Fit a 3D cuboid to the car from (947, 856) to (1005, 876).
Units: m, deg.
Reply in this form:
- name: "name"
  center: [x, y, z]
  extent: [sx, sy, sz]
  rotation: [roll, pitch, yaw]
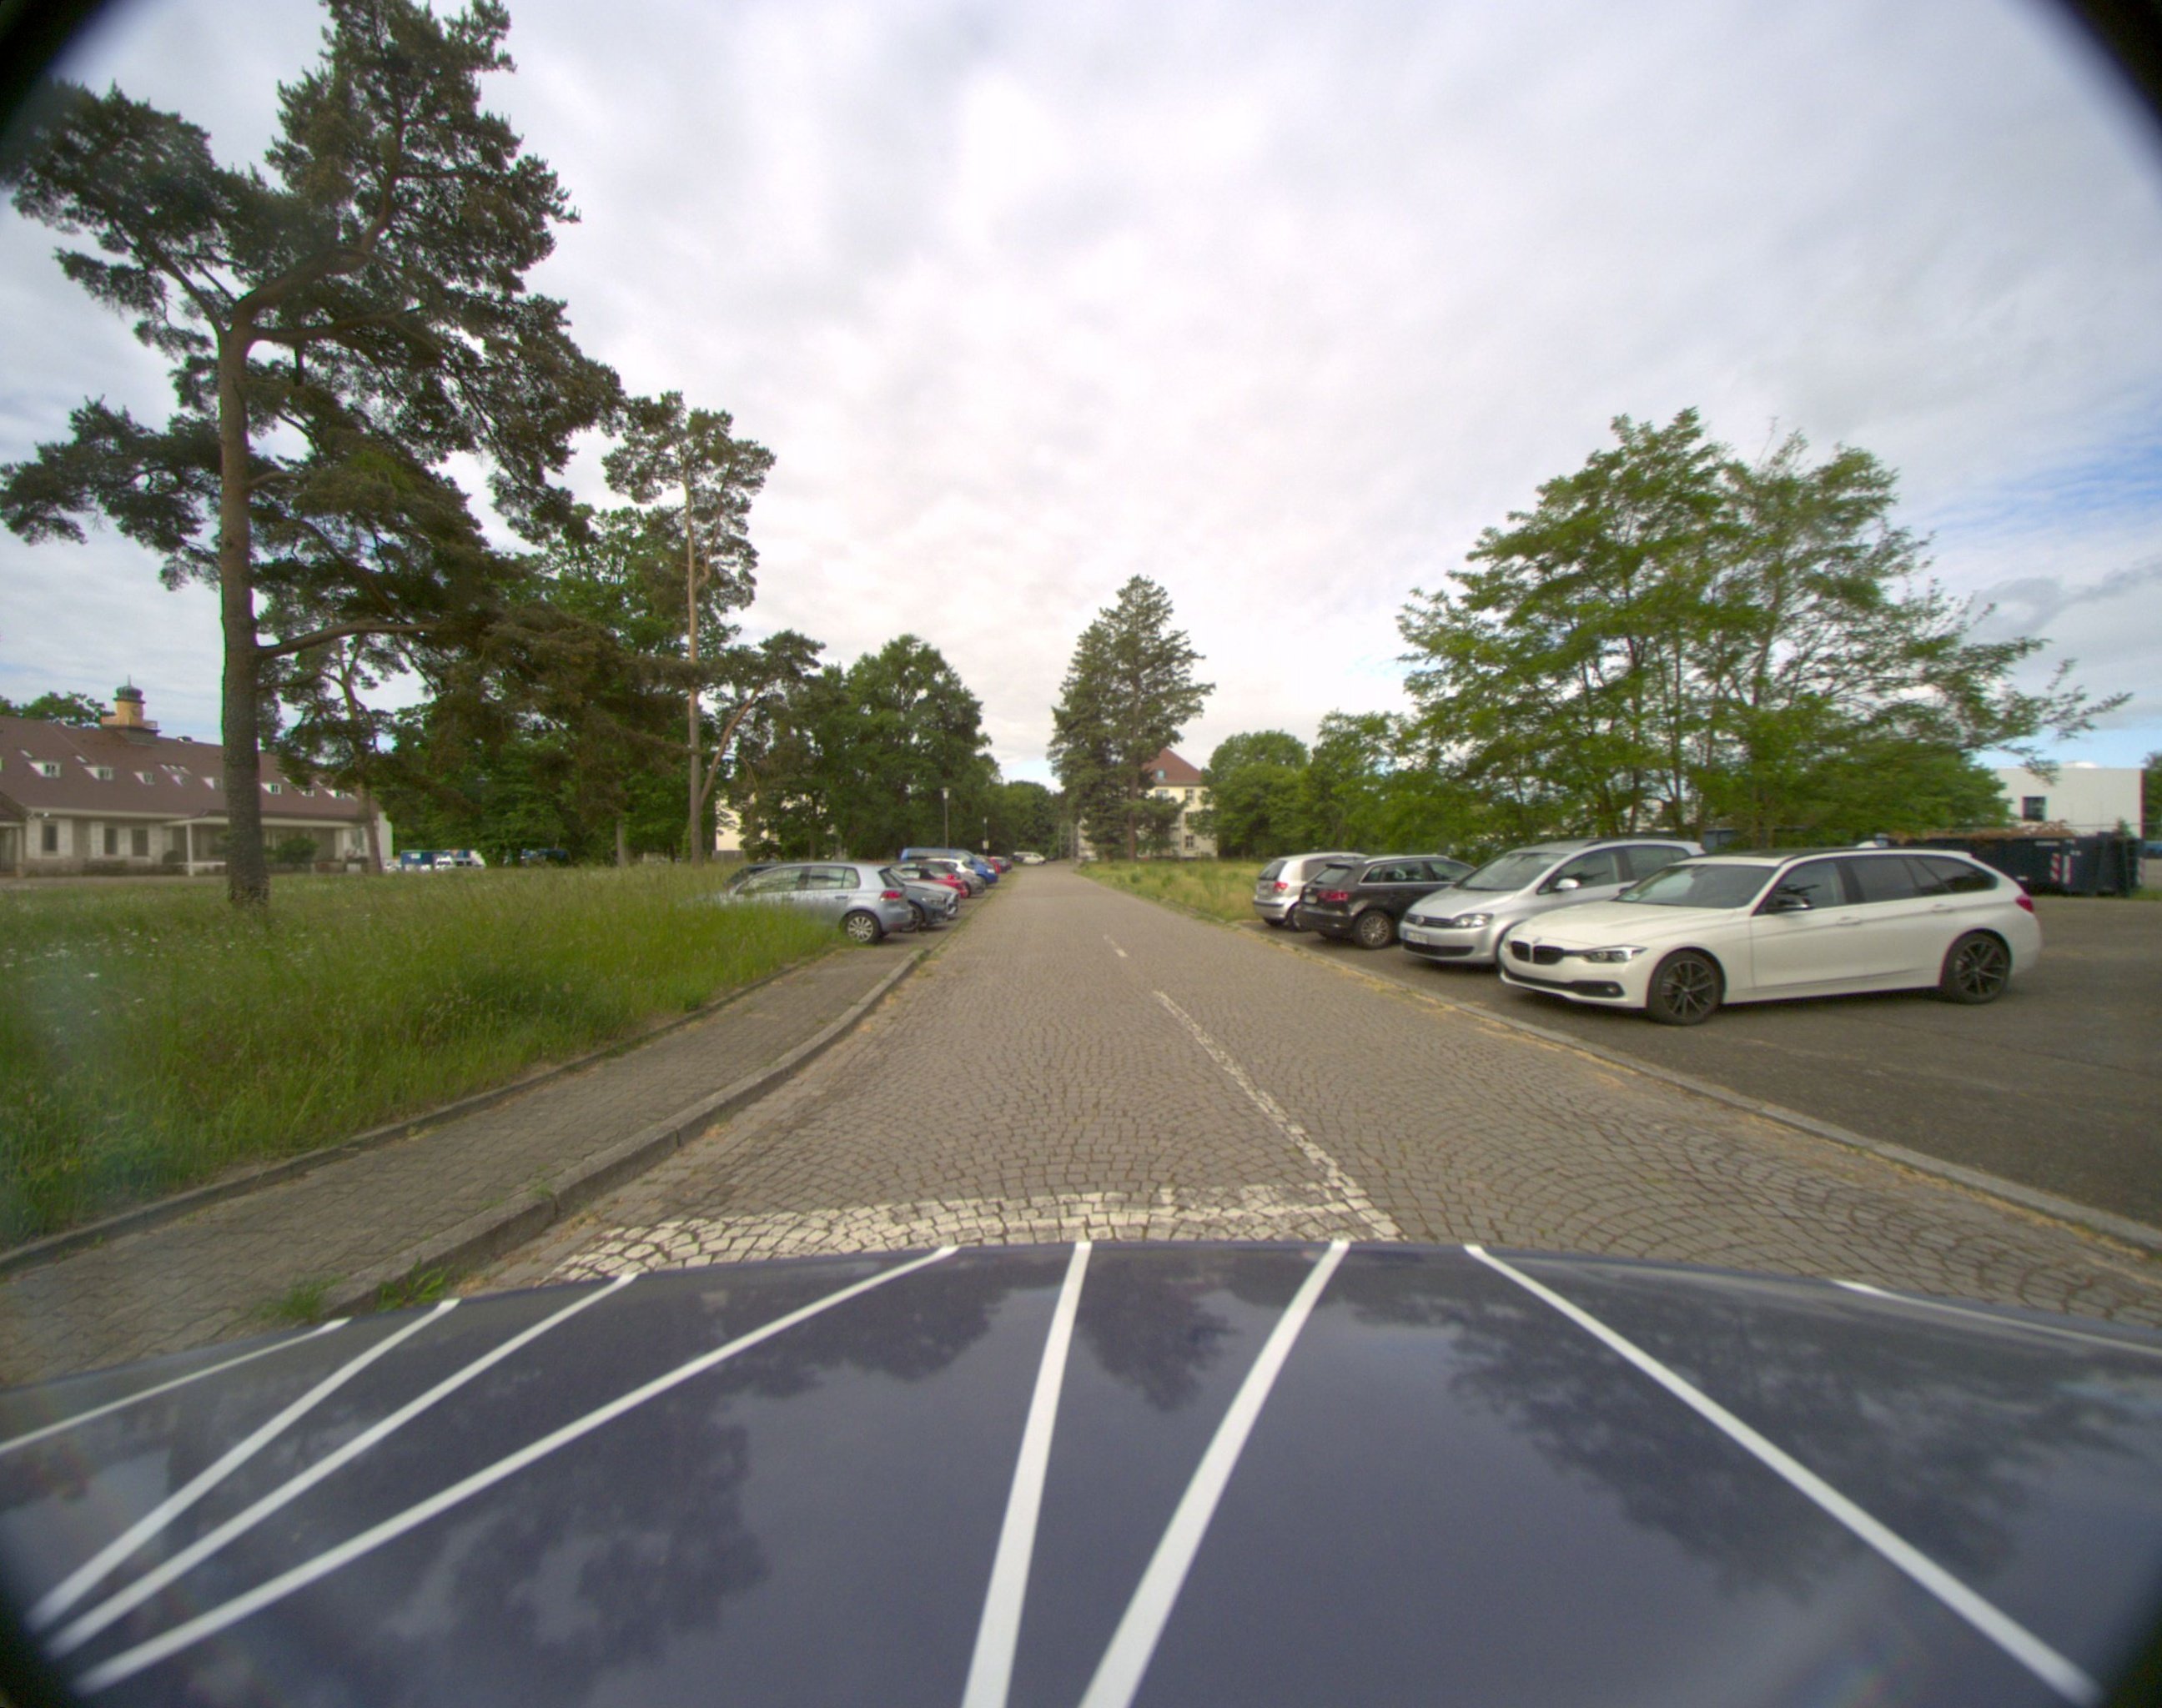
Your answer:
- name: "car"
  center: [-7.771, 0.875, 56.636]
  extent: [4.084, 1.436, 1.726]
  rotation: [0, 0, -2]

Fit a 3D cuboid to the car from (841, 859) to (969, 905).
- name: "car"
  center: [-6.030, 0.934, 26.316]
  extent: [4.051, 1.507, 1.600]
  rotation: [0, 0, -1]

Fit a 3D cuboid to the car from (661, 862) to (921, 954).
- name: "car"
  center: [-5.038, 0.928, 13.652]
  extent: [4.013, 1.420, 1.697]
  rotation: [2, 0, -5]

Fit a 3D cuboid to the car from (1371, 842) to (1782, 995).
- name: "car"
  center: [6.357, 0.732, 9.988]
  extent: [4.377, 1.588, 1.871]
  rotation: [-2, 1, -9]

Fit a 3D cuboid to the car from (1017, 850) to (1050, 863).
- name: "car"
  center: [-7.492, 0.389, 120.451]
  extent: [5.151, 2.137, 1.774]
  rotation: [0, 0, -6]

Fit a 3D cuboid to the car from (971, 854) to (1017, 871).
- name: "car"
  center: [-8.190, 0.791, 71.671]
  extent: [4.092, 1.524, 1.727]
  rotation: [0, 0, 4]

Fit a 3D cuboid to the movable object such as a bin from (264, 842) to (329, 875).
- name: "movable object such as a bin"
  center: [-93.750, 0.527, 90.868]
  extent: [5.459, 3.748, 2.052]
  rotation: [-2, 1, 0]

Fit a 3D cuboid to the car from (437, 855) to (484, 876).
- name: "car"
  center: [-73.351, 1.297, 89.901]
  extent: [1.862, 2.351, 4.445]
  rotation: [-2, 1, -3]

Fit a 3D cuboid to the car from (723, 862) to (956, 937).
- name: "car"
  center: [-5.020, 0.939, 16.285]
  extent: [4.441, 1.375, 1.663]
  rotation: [2, 0, -5]

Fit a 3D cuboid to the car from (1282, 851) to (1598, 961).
- name: "car"
  center: [5.819, 0.789, 12.602]
  extent: [4.448, 1.416, 1.721]
  rotation: [-3, 1, -5]

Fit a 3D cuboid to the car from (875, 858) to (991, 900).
- name: "car"
  center: [-5.620, 0.938, 29.170]
  extent: [4.098, 1.507, 1.700]
  rotation: [0, 0, -1]

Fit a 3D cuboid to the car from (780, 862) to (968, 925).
- name: "car"
  center: [-5.073, 0.957, 19.031]
  extent: [4.248, 1.465, 1.717]
  rotation: [0, 0, -1]

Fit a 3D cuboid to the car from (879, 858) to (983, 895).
- name: "car"
  center: [-6.271, 0.937, 32.058]
  extent: [4.051, 1.507, 1.600]
  rotation: [0, 0, -1]

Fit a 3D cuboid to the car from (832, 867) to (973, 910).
- name: "car"
  center: [-5.482, 1.058, 23.679]
  extent: [4.052, 1.233, 1.549]
  rotation: [0, 0, -3]

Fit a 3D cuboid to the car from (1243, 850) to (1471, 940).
- name: "car"
  center: [5.468, 0.767, 15.259]
  extent: [3.961, 1.462, 1.584]
  rotation: [-3, 1, -6]

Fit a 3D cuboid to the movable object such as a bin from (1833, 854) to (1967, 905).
- name: "movable object such as a bin"
  center: [18.605, 0.560, 17.291]
  extent: [2.268, 1.119, 0.858]
  rotation: [0, 1, -5]

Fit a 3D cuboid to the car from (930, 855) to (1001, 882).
- name: "car"
  center: [-7.002, 0.887, 46.351]
  extent: [4.084, 1.584, 1.654]
  rotation: [0, 0, -1]

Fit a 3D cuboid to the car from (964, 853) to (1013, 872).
- name: "car"
  center: [-8.120, 0.736, 66.978]
  extent: [4.082, 1.685, 1.727]
  rotation: [0, 0, 4]

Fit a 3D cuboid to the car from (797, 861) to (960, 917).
- name: "car"
  center: [-5.620, 0.970, 21.480]
  extent: [4.185, 1.473, 1.717]
  rotation: [0, 0, -3]

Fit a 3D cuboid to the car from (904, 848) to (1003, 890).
- name: "car"
  center: [-6.225, 0.698, 37.482]
  extent: [4.603, 1.994, 1.911]
  rotation: [0, 1, -1]

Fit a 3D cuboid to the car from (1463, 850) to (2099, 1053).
- name: "car"
  center: [6.575, 0.816, 7.446]
  extent: [4.753, 1.479, 1.866]
  rotation: [-2, 0, -6]
